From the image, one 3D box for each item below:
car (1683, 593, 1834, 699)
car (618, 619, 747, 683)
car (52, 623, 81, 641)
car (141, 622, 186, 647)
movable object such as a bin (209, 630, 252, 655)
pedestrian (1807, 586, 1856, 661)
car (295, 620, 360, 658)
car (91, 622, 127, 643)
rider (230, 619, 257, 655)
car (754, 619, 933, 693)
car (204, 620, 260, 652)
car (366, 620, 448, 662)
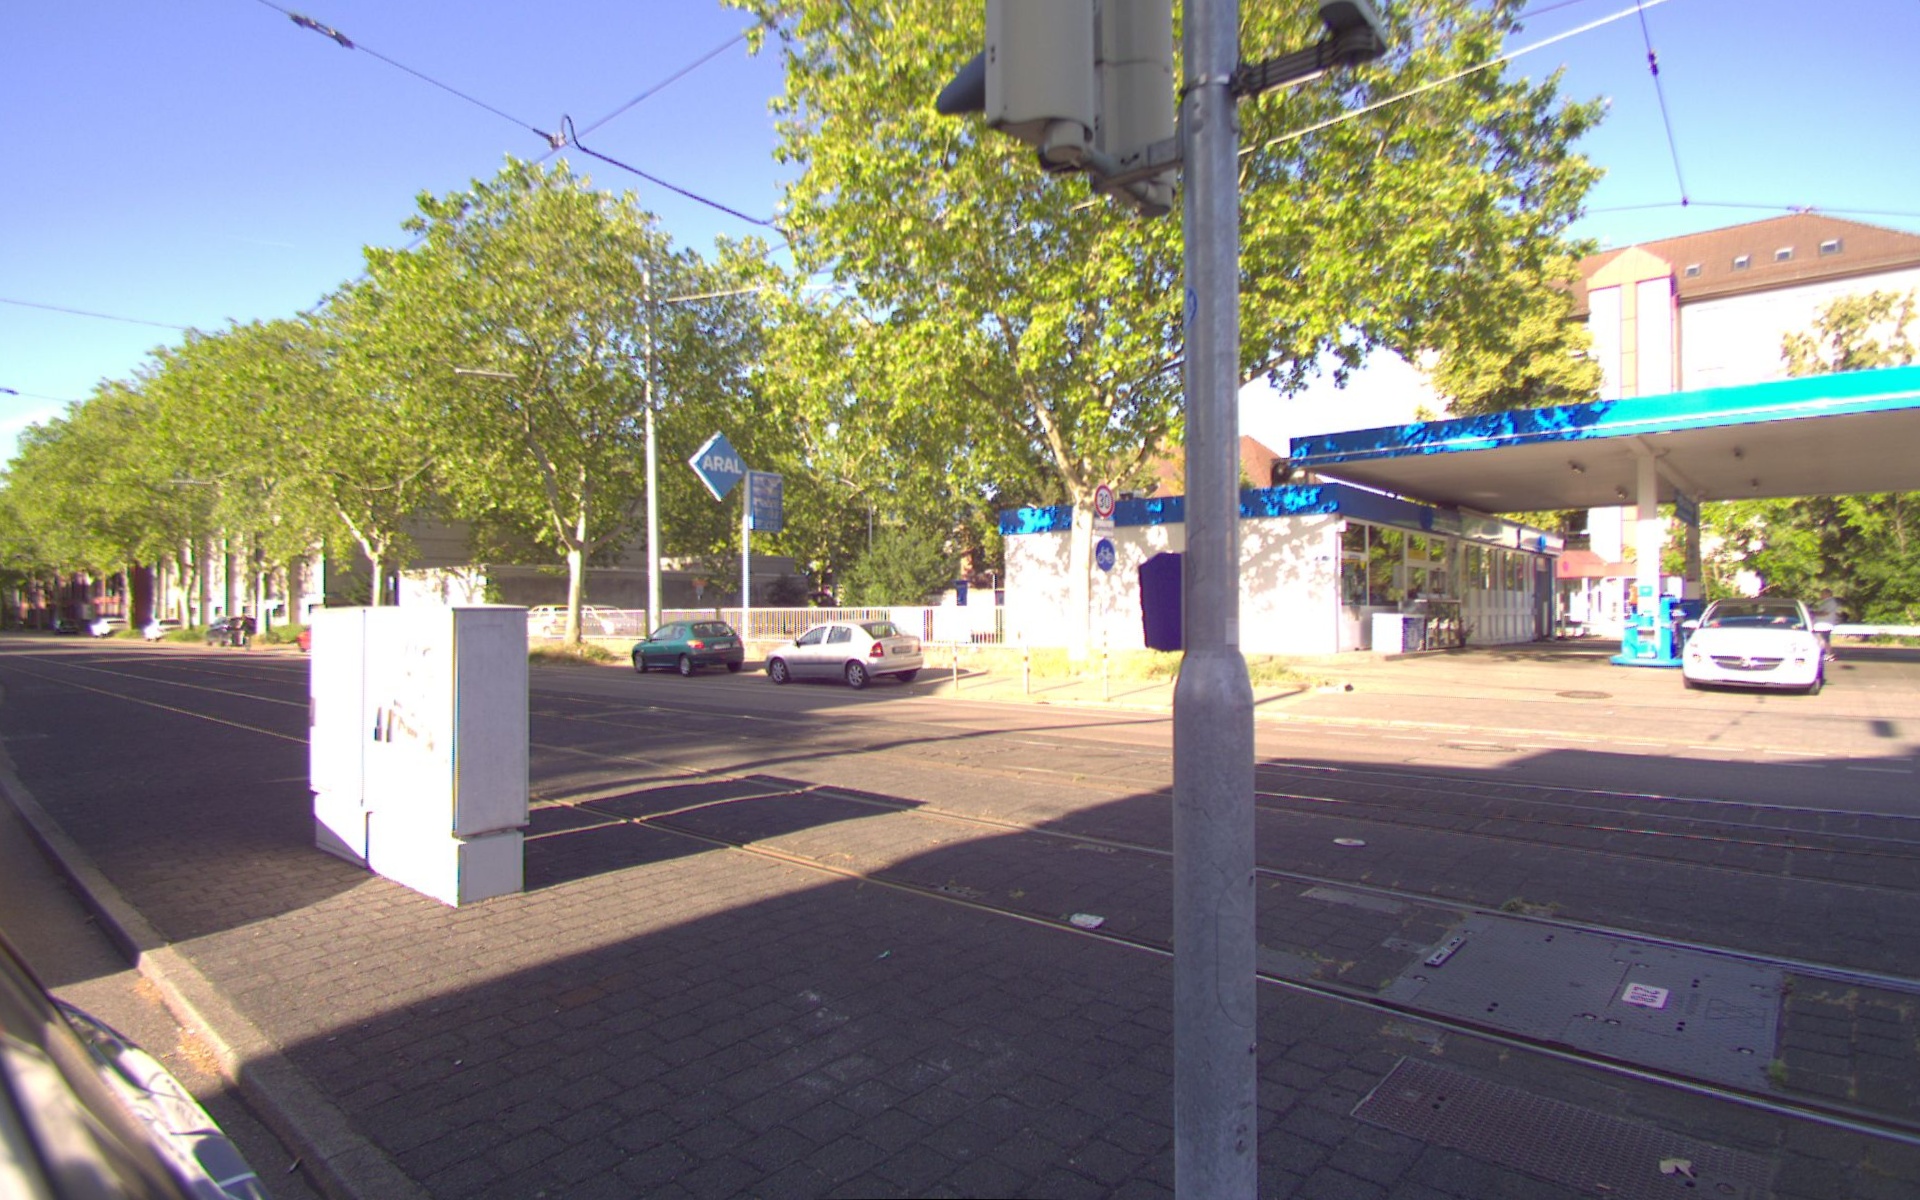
[{"bbox_3d":[13.128,0.657,16.548,1.743,1.446,3.882,-1,1,41],"label":"car"},{"bbox_3d":[-7.418,1.305,26.918,3.606,1.455,1.598,-1,2,43],"label":"car"},{"bbox_3d":[-85.035,3.033,96.330,3.731,1.471,1.639,-1,2,43],"label":"car"},{"bbox_3d":[-53.718,2.302,68.223,3.878,1.552,1.731,-1,2,43],"label":"car"},{"bbox_3d":[-34.998,2.012,48.558,1.831,1.111,1.164,-1,0,36],"label":"movable object such as a bin"},{"bbox_3d":[20.584,0.558,23.916,0.847,1.715,0.640,-1,-3,40],"label":"pedestrian"},{"bbox_3d":[-28.775,1.737,46.009,3.377,1.506,1.639,-1,2,43],"label":"car"},{"bbox_3d":[-66.787,2.519,79.410,3.731,1.471,1.639,-1,2,43],"label":"car"},{"bbox_3d":[-33.878,1.723,47.846,1.104,1.660,0.717,-1,0,36],"label":"rider"},{"bbox_3d":[-2.656,1.194,22.623,3.987,1.376,1.666,-2,3,41],"label":"car"},{"bbox_3d":[-40.702,1.994,56.565,3.878,1.603,1.731,-1,2,43],"label":"car"},{"bbox_3d":[-21.815,1.576,39.882,3.769,1.455,1.701,-1,2,43],"label":"car"}]
